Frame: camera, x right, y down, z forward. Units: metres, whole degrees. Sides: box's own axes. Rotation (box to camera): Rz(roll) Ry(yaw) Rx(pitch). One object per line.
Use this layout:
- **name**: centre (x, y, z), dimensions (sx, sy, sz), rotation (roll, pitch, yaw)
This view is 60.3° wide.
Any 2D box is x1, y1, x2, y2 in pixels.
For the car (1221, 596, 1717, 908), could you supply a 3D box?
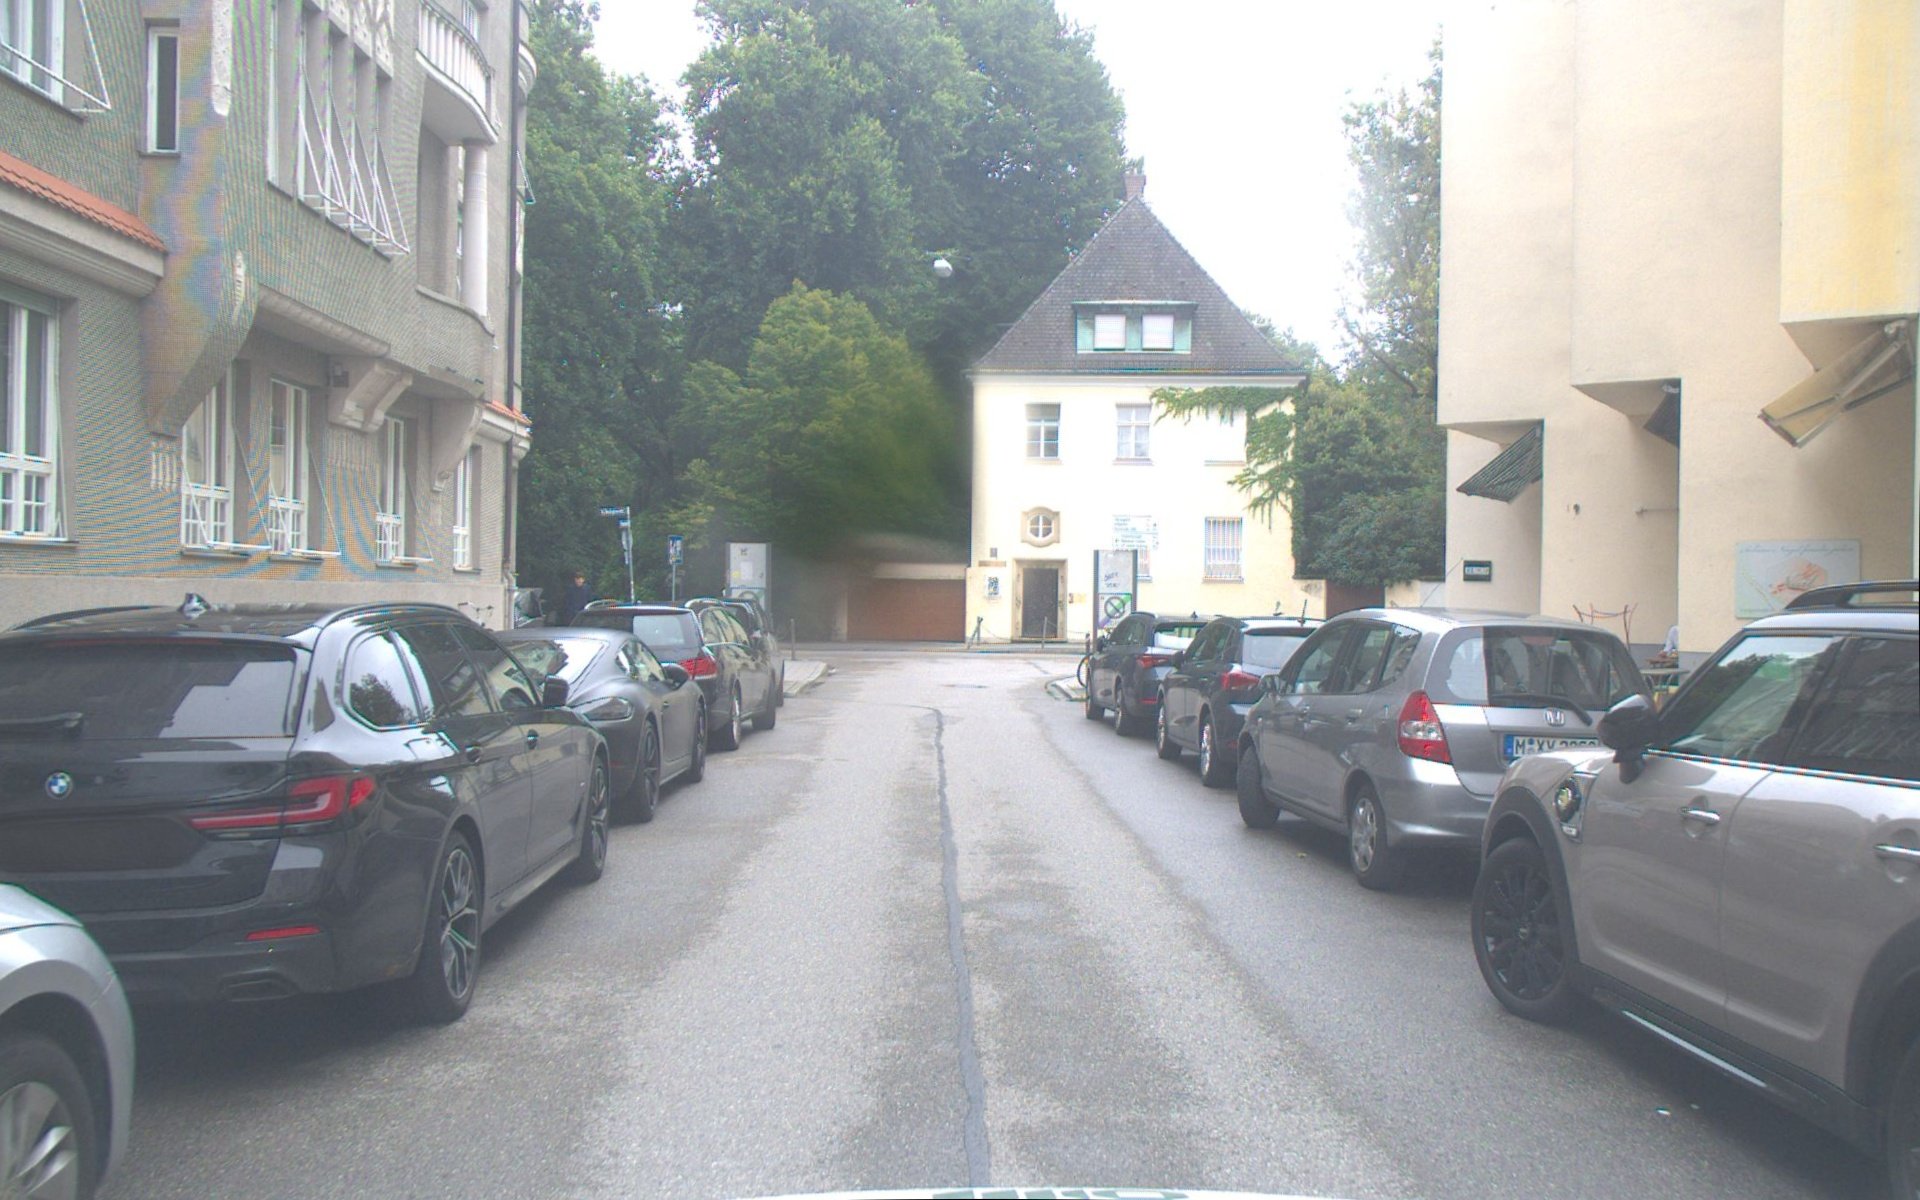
- **car**: centre (2.901, 0.776, 10.312), dimensions (1.602, 1.563, 3.851), rotation (1, 0, -5)

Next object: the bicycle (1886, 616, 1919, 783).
- **bicycle**: centre (7.380, 0.731, 11.699), dimensions (0.552, 1.213, 1.675), rotation (-2, 0, -6)

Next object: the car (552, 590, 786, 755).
- **car**: centre (-2.987, 0.676, 17.922), dimensions (1.719, 1.541, 4.707), rotation (0, 0, 0)

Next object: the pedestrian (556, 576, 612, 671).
- **pedestrian**: centre (-7.371, 0.448, 32.437), dimensions (0.821, 1.818, 0.936), rotation (1, 0, 1)

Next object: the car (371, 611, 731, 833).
- **car**: centre (-2.874, 0.789, 12.522), dimensions (1.719, 1.354, 4.096), rotation (0, 0, 0)

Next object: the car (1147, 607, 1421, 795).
- **car**: centre (2.883, 0.838, 15.513), dimensions (1.601, 1.497, 3.852), rotation (1, 0, -3)

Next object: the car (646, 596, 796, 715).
- **car**: centre (-3.267, 0.723, 23.045), dimensions (1.669, 1.541, 2.911), rotation (0, 0, -1)

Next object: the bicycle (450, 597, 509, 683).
- **bicycle**: centre (-7.961, 0.646, 27.459), dimensions (0.606, 1.373, 1.673), rotation (1, 0, -6)

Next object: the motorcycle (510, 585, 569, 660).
- **motorcycle**: centre (-8.523, 0.445, 33.595), dimensions (0.721, 1.466, 2.146), rotation (1, 0, -3)

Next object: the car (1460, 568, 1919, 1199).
- **car**: centre (2.956, 0.749, 4.765), dimensions (1.601, 1.620, 3.965), rotation (1, 0, -4)

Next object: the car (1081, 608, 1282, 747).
- **car**: centre (2.656, 0.886, 20.839), dimensions (1.659, 1.497, 4.608), rotation (1, 0, -3)

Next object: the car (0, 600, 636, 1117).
- **car**: centre (-2.749, 0.746, 7.150), dimensions (1.954, 1.474, 4.776), rotation (0, 0, -3)

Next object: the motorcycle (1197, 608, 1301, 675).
- **motorcycle**: centre (6.125, 0.873, 35.045), dimensions (2.051, 1.379, 0.811), rotation (1, 0, -25)

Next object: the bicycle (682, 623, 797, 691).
- **bicycle**: centre (-3.567, 0.919, 26.801), dimensions (1.766, 1.033, 0.540), rotation (2, 0, -3)

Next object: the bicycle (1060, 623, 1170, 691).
- **bicycle**: centre (2.648, 0.958, 28.263), dimensions (1.756, 1.104, 0.665), rotation (0, 1, 26)

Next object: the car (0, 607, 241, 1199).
- **car**: centre (-2.633, 0.770, 1.765), dimensions (1.768, 1.456, 4.439), rotation (-1, 0, 0)

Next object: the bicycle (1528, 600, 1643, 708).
- **bicycle**: centre (6.568, 0.539, 17.329), dimensions (0.738, 1.050, 1.794), rotation (-1, 0, 33)
